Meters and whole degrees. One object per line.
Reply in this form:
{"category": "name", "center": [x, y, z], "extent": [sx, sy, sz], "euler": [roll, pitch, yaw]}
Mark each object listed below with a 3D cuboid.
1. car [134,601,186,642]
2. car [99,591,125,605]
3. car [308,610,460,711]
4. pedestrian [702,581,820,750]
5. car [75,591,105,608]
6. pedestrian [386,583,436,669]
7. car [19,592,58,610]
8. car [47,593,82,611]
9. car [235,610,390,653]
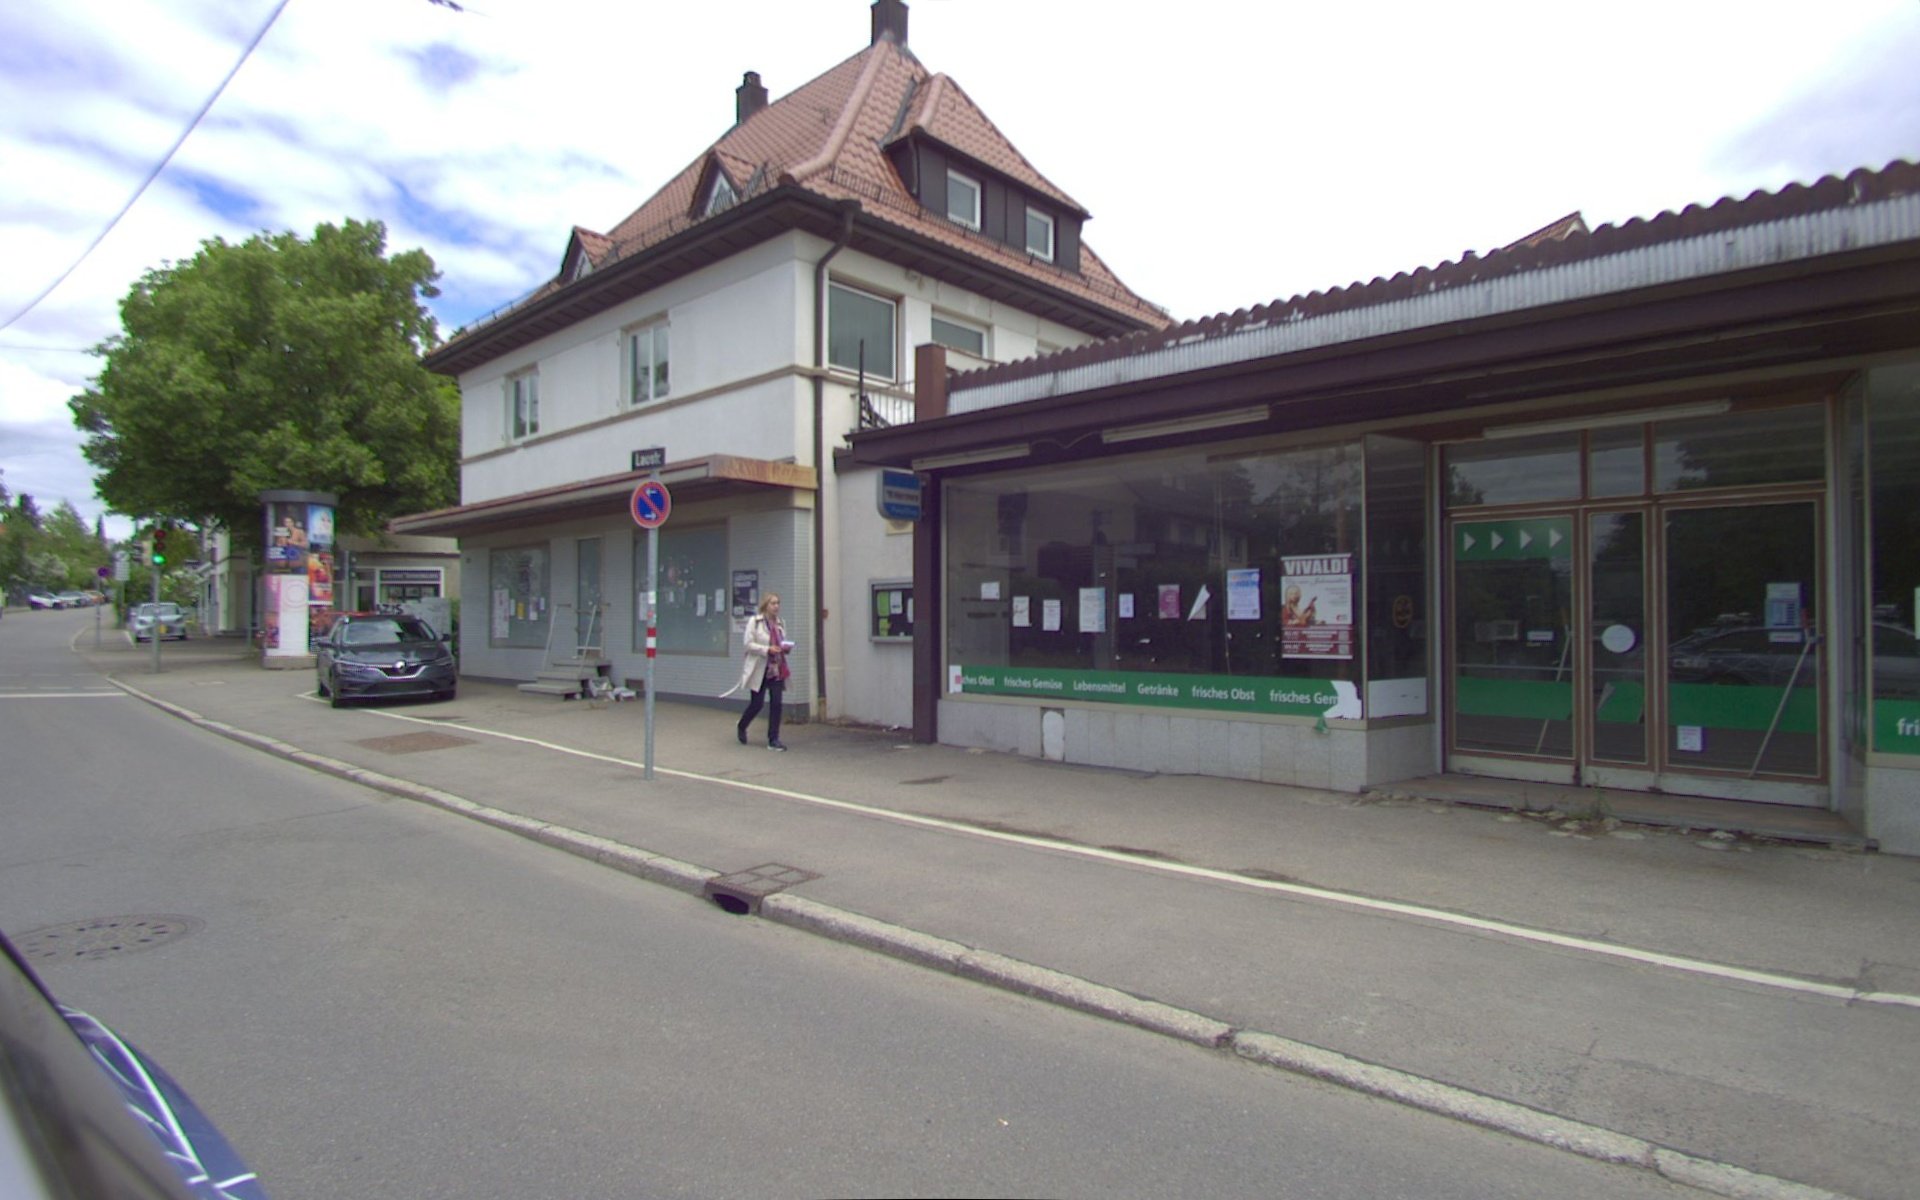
{"category": "car", "center": [-32.955, 0.838, 41.669], "extent": [1.568, 1.550, 2.929], "euler": [-3, 2, -39]}
{"category": "car", "center": [-98.711, -0.246, 117.842], "extent": [1.924, 1.639, 4.387], "euler": [-1, 2, -35]}
{"category": "car", "center": [-10.130, 0.940, 17.620], "extent": [1.756, 1.452, 4.536], "euler": [-2, 1, -36]}
{"category": "pedestrian", "center": [-2.196, 0.681, 11.171], "extent": [0.963, 1.764, 0.873], "euler": [0, 0, 39]}
{"category": "car", "center": [-91.414, -0.084, 106.360], "extent": [1.825, 1.639, 4.181], "euler": [-1, 2, -34]}
{"category": "pedestrian", "center": [-11.506, 0.528, 21.207], "extent": [0.874, 1.731, 0.763], "euler": [-2, 0, -30]}
{"category": "car", "center": [-80.475, 0.090, 88.420], "extent": [2.255, 1.535, 1.322], "euler": [1, 0, -28]}
{"category": "car", "center": [-84.475, 0.161, 95.502], "extent": [1.804, 1.636, 4.505], "euler": [0, 1, -33]}
{"category": "car", "center": [-22.505, 1.110, 35.334], "extent": [4.162, 1.443, 1.821], "euler": [0, -3, -14]}
